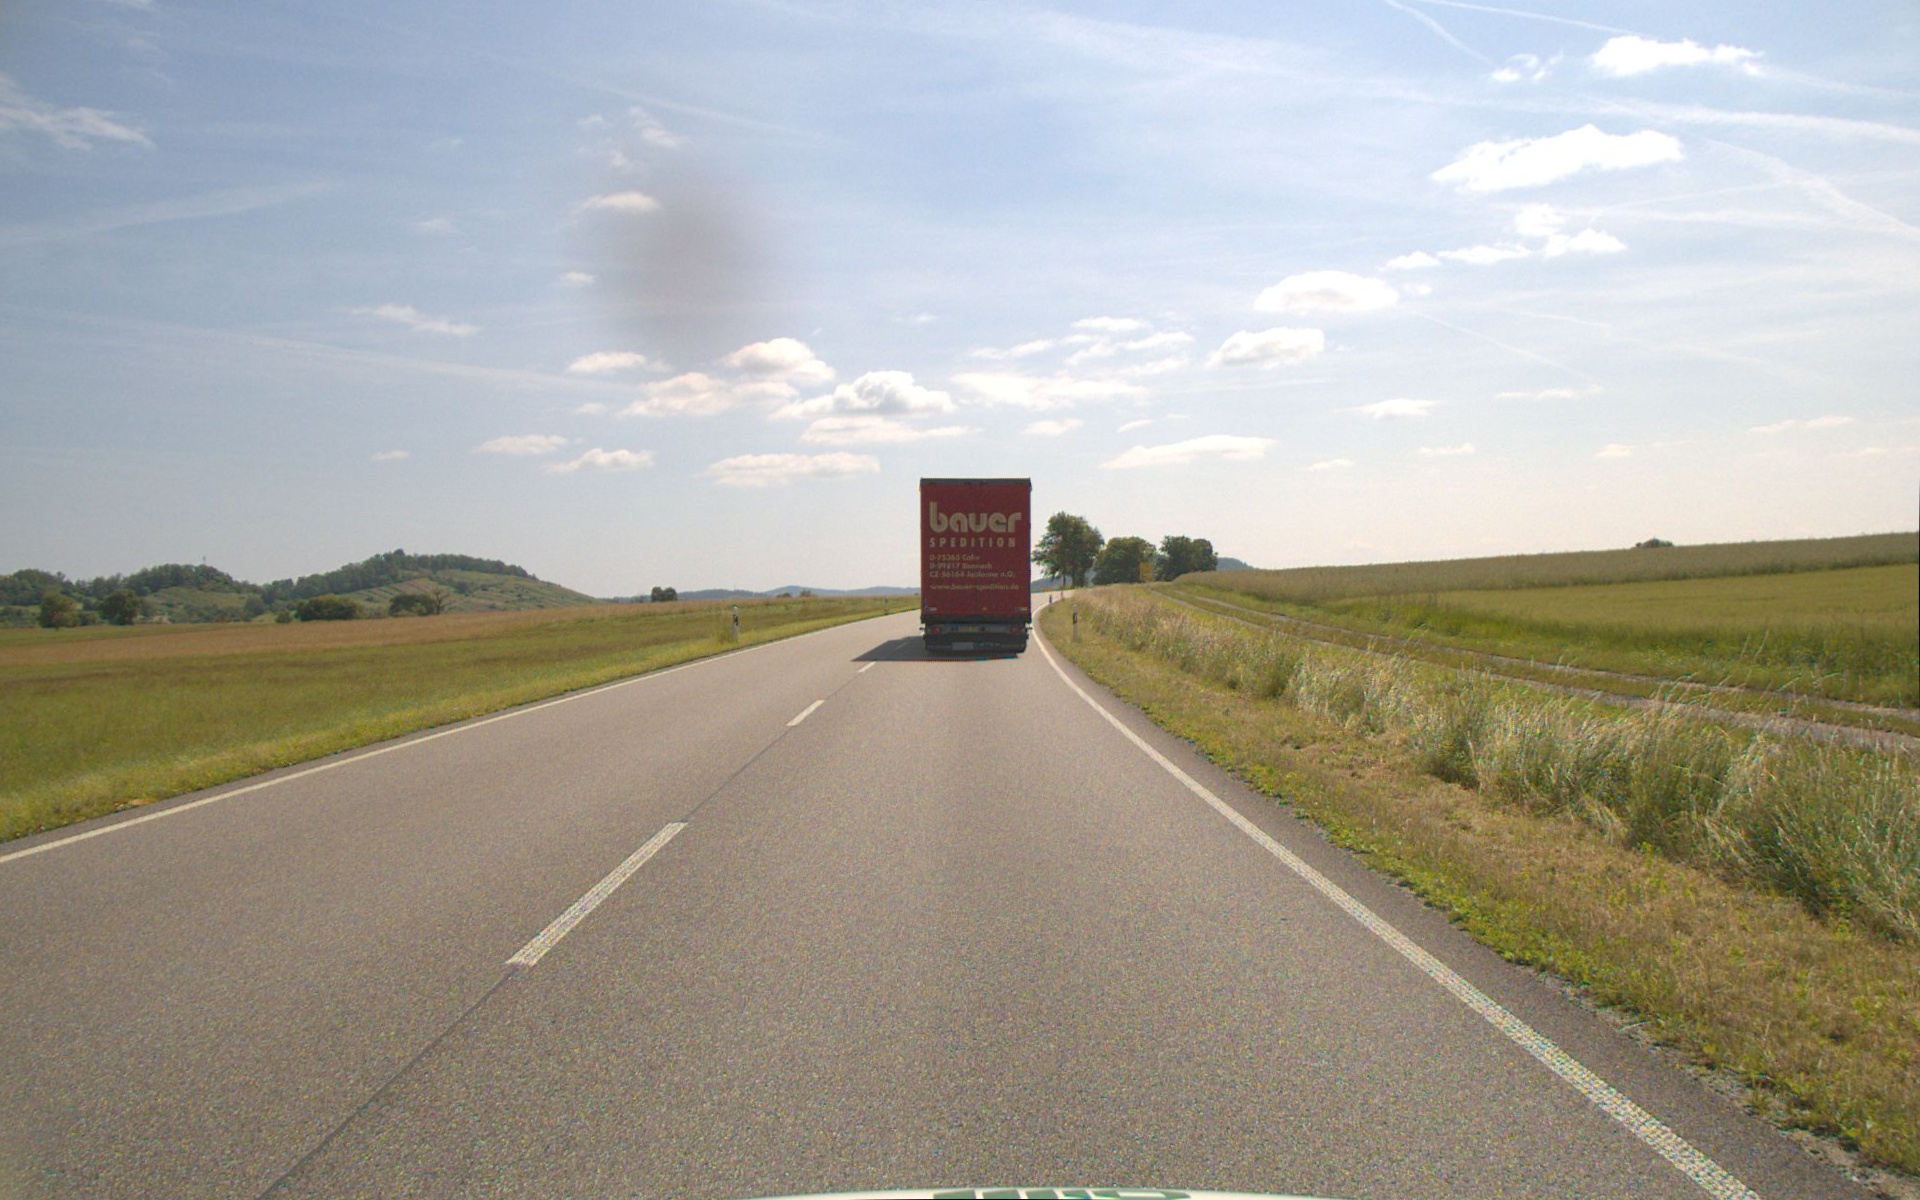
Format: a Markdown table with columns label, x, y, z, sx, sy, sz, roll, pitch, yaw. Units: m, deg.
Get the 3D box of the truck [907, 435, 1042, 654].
| label | x | y | z | sx | sy | sz | roll | pitch | yaw |
| --- | --- | --- | --- | --- | --- | --- | --- | --- | --- |
| truck | 0.431 | -1.258 | 41.385 | 2.914 | 4.795 | 9.367 | 1 | 0 | 1 |
